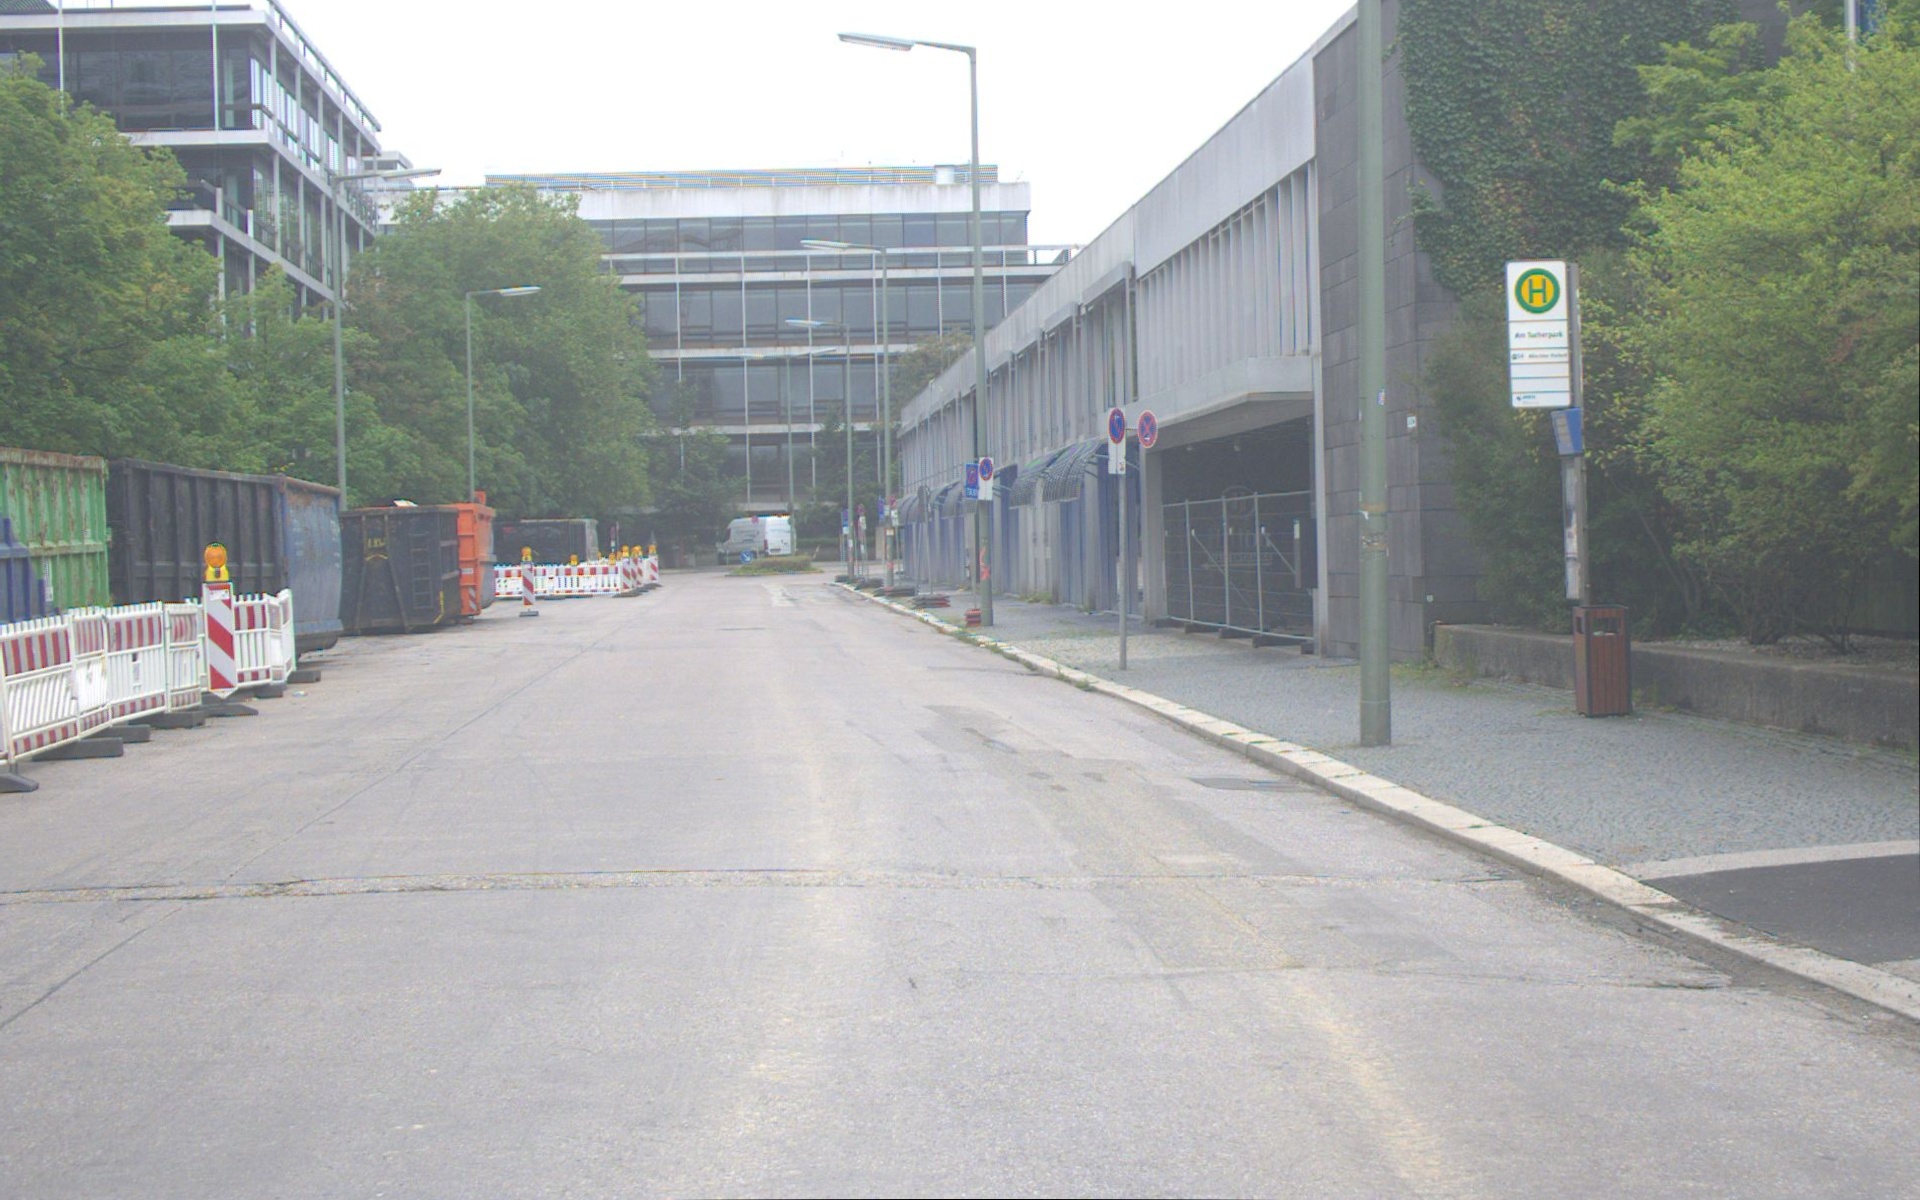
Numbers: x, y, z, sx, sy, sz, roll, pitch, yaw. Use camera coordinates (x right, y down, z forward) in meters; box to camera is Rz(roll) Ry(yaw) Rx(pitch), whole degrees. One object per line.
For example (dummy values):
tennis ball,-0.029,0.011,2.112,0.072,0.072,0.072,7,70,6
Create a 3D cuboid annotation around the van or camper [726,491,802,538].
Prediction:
van or camper,-10.746,-4.694,188.336,2.085,2.483,5.068,-2,2,-29
